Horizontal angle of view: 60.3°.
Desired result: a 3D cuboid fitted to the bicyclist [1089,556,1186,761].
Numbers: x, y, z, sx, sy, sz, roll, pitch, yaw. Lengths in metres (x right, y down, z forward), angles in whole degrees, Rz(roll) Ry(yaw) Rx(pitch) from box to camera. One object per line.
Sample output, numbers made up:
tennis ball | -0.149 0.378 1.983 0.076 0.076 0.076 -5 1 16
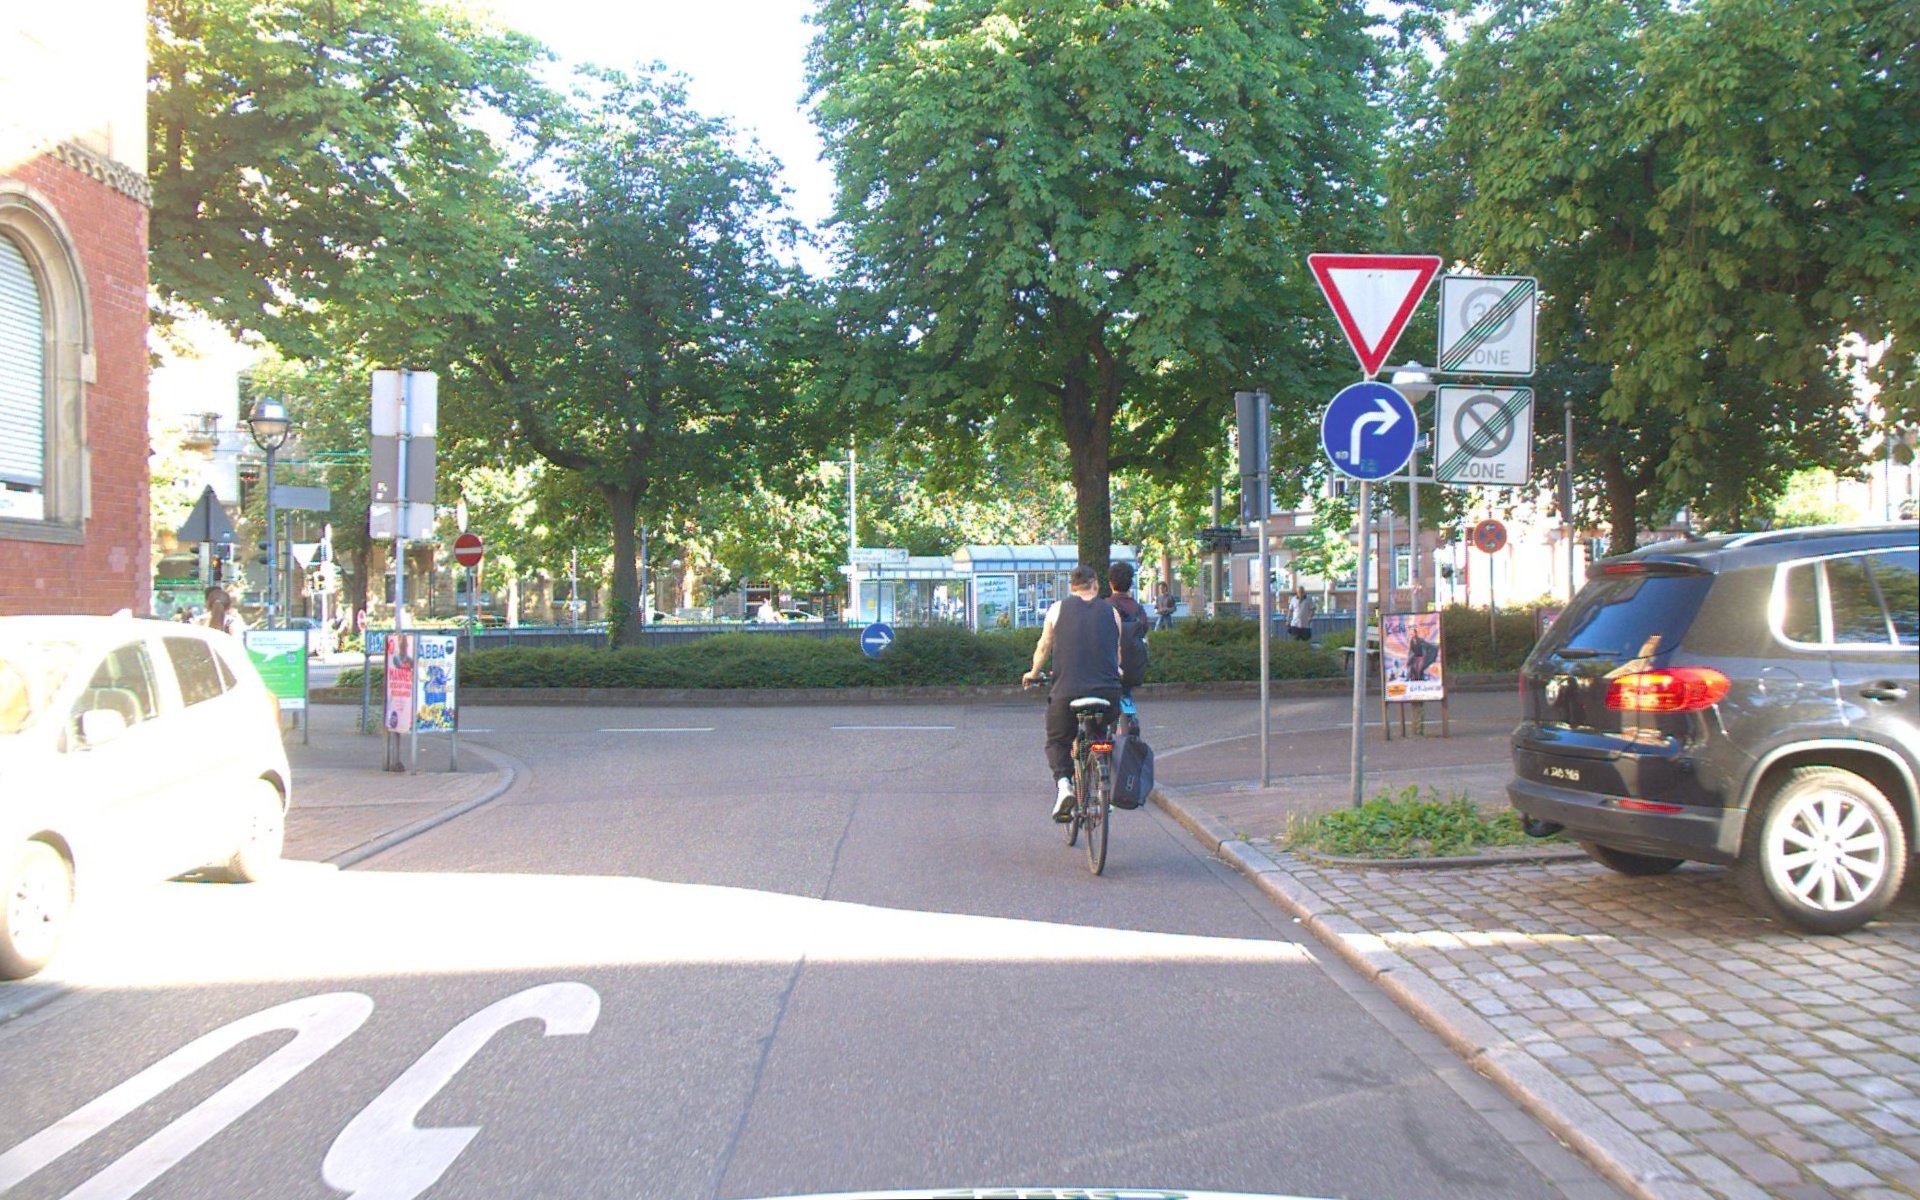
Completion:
bicyclist | 1.387 0.456 13.083 0.657 1.541 1.069 -1 -1 2

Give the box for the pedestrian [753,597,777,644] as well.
pedestrian | -7.305 0.763 61.859 0.692 1.725 0.666 1 -1 -23

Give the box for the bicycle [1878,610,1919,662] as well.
bicycle | 21.953 0.826 38.690 0.585 1.182 2.041 -1 0 22

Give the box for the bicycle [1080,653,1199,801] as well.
bicycle | 1.396 0.966 13.208 0.660 1.072 2.060 -1 -2 -2

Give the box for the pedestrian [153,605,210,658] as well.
pedestrian | -29.212 1.160 62.058 1.230 1.945 1.494 -1 0 20

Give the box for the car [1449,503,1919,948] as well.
car | 4.667 0.434 7.814 4.027 1.742 2.022 -2 1 -6

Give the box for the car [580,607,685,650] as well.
car | -13.703 1.181 69.284 1.922 1.709 3.920 -1 0 45

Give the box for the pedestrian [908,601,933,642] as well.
pedestrian | -1.554 0.825 64.552 0.795 1.570 0.818 1 0 -12

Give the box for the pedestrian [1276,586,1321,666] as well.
pedestrian | 7.414 0.569 36.268 0.896 1.713 0.781 -1 0 9

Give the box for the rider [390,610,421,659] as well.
rider | -19.801 1.225 59.090 0.801 1.711 0.671 1 0 9

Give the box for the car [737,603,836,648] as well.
car | -7.726 1.115 73.574 3.939 1.903 1.983 -1 0 -27

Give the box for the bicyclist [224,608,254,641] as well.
bicyclist | -23.990 0.820 55.062 0.598 1.072 0.676 -1 0 26

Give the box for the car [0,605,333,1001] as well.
car | -4.608 0.799 8.057 1.670 1.511 3.796 1 0 -1

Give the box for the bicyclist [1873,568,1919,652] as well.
bicyclist | 22.029 0.232 38.829 0.833 1.931 1.140 -1 0 20

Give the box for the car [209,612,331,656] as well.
car | -24.145 1.173 57.990 1.857 1.464 3.704 -1 0 25

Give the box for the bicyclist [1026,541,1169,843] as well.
bicyclist | 0.803 0.527 9.919 0.737 1.711 0.913 -1 0 -1

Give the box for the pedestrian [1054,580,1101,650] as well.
pedestrian | 3.303 0.419 46.567 1.003 1.930 0.906 -1 0 -23

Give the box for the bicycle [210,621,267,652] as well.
bicycle | -24.000 1.207 55.019 0.640 0.962 1.741 -1 0 26

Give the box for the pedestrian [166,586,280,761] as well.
pedestrian | -7.312 0.707 16.440 0.852 1.672 0.858 -1 0 -12

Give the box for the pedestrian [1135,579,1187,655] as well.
pedestrian | 4.585 0.388 37.669 0.880 1.713 0.817 -1 0 33

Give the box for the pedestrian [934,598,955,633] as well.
pedestrian | -0.761 0.763 80.743 0.980 1.659 1.064 -1 0 -3

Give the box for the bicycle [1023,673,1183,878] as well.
bicycle | 0.814 0.995 9.974 0.723 1.030 2.060 1 -1 -1

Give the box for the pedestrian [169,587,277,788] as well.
pedestrian | -6.229 0.717 14.013 0.588 1.633 0.853 -1 0 -7
